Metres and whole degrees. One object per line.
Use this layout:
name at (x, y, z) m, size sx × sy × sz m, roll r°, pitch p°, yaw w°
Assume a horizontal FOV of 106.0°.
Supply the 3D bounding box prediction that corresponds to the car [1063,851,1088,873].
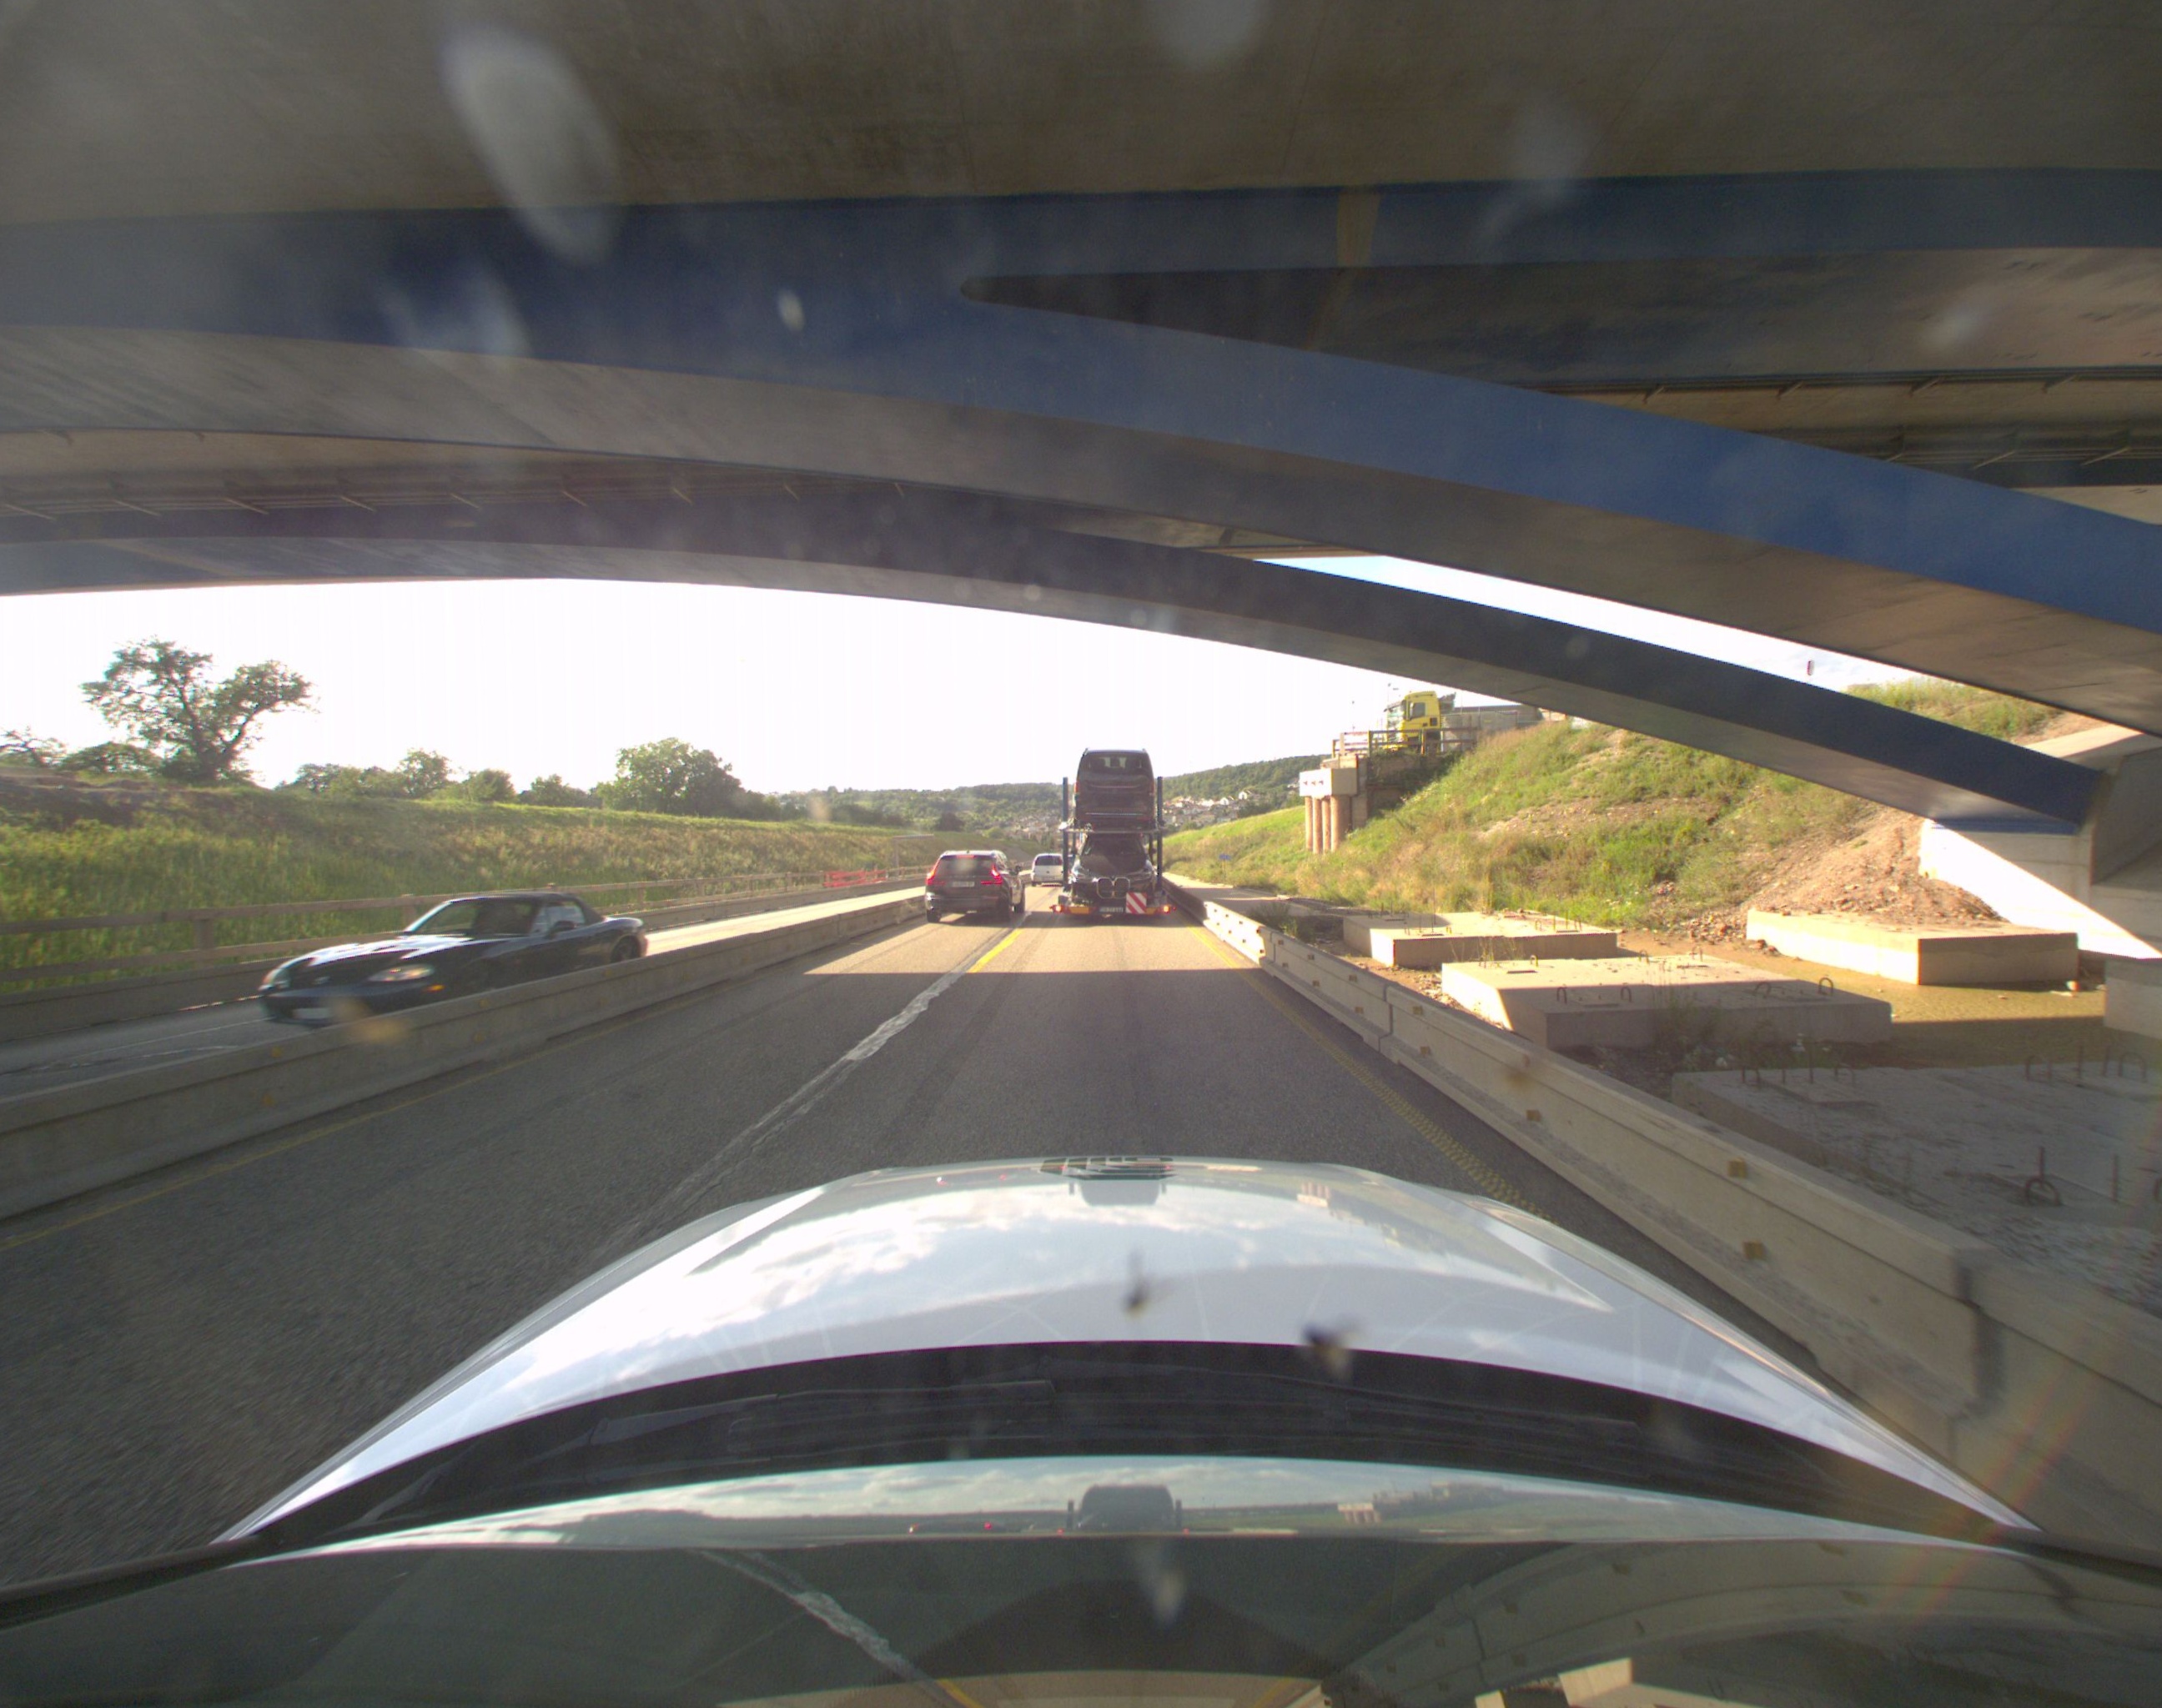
car at (-0.397, 0.558, 61.378) m, size 1.790 × 1.530 × 4.295 m, roll -1°, pitch 0°, yaw 0°

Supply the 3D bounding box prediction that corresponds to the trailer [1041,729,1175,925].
trailer at (0.852, -0.550, 22.633) m, size 2.697 × 4.029 × 11.427 m, roll -1°, pitch 0°, yaw 3°

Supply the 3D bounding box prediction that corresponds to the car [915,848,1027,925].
car at (-2.538, 0.684, 19.941) m, size 1.986 × 1.625 × 4.751 m, roll -1°, pitch 0°, yaw 1°

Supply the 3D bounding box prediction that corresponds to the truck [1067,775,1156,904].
truck at (1.098, -0.445, 28.239) m, size 2.667 × 3.922 × 6.032 m, roll -1°, pitch 0°, yaw 3°

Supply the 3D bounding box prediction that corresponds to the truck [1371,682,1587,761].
truck at (19.525, -6.491, 40.353) m, size 9.231 × 3.228 × 2.960 m, roll -1°, pitch 0°, yaw 1°

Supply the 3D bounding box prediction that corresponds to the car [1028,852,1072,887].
car at (-1.457, 0.701, 40.439) m, size 1.789 × 1.596 × 4.745 m, roll -1°, pitch 0°, yaw 2°

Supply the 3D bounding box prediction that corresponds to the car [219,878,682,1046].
car at (-6.364, 0.974, 8.990) m, size 1.662 × 1.155 × 4.219 m, roll -4°, pitch 0°, yaw 1°
